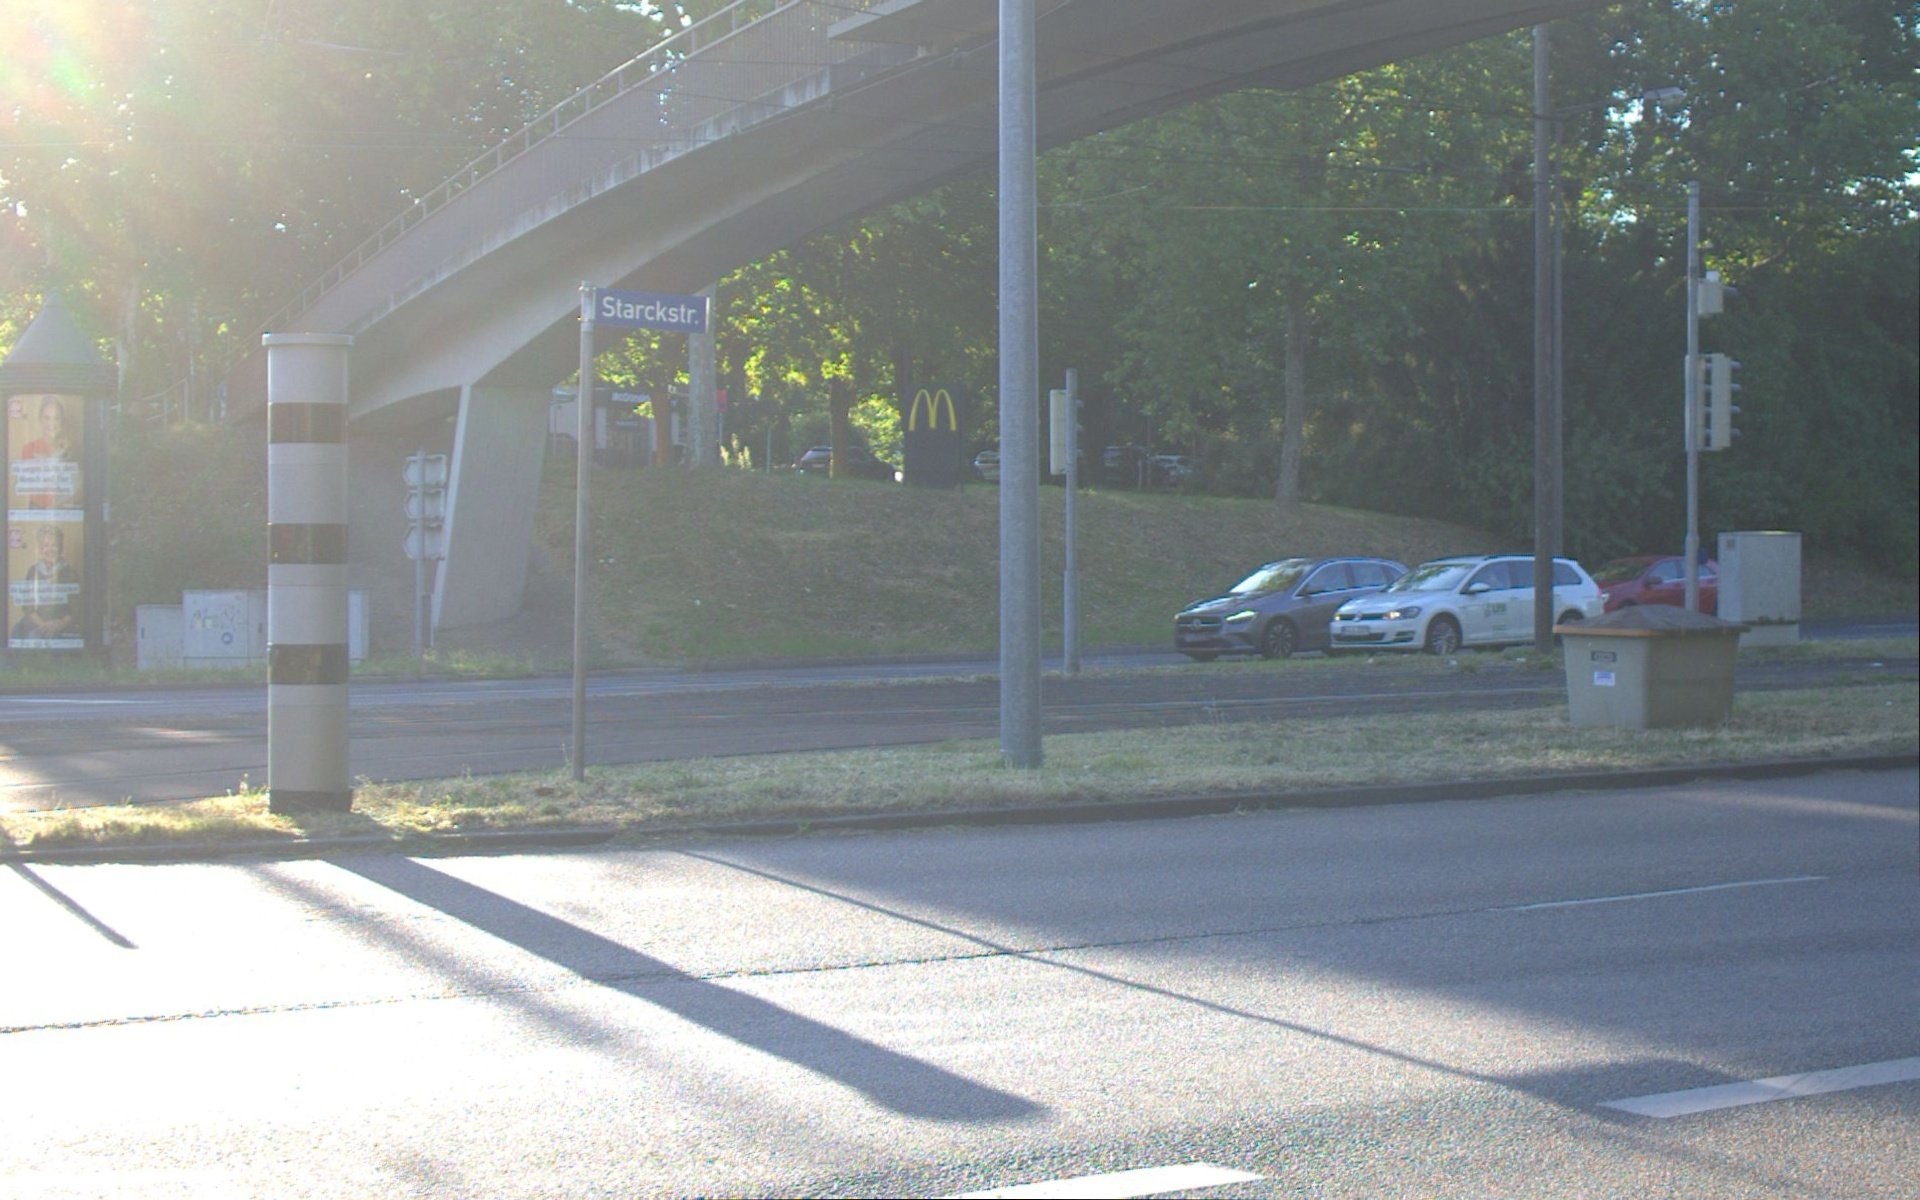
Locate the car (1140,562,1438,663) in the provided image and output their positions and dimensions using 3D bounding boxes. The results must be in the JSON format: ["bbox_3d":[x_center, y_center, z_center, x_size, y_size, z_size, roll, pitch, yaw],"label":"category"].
[{"bbox_3d":[5.004,0.168,52.057,4.240,1.438,2.011,0,1,-38],"label":"car"}]

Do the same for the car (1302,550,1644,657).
[{"bbox_3d":[7.349,0.029,49.038,4.845,1.438,2.011,0,1,-38],"label":"car"}]

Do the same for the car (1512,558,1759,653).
[{"bbox_3d":[12.155,0.076,61.801,4.343,1.645,1.796,0,1,-34],"label":"car"}]
